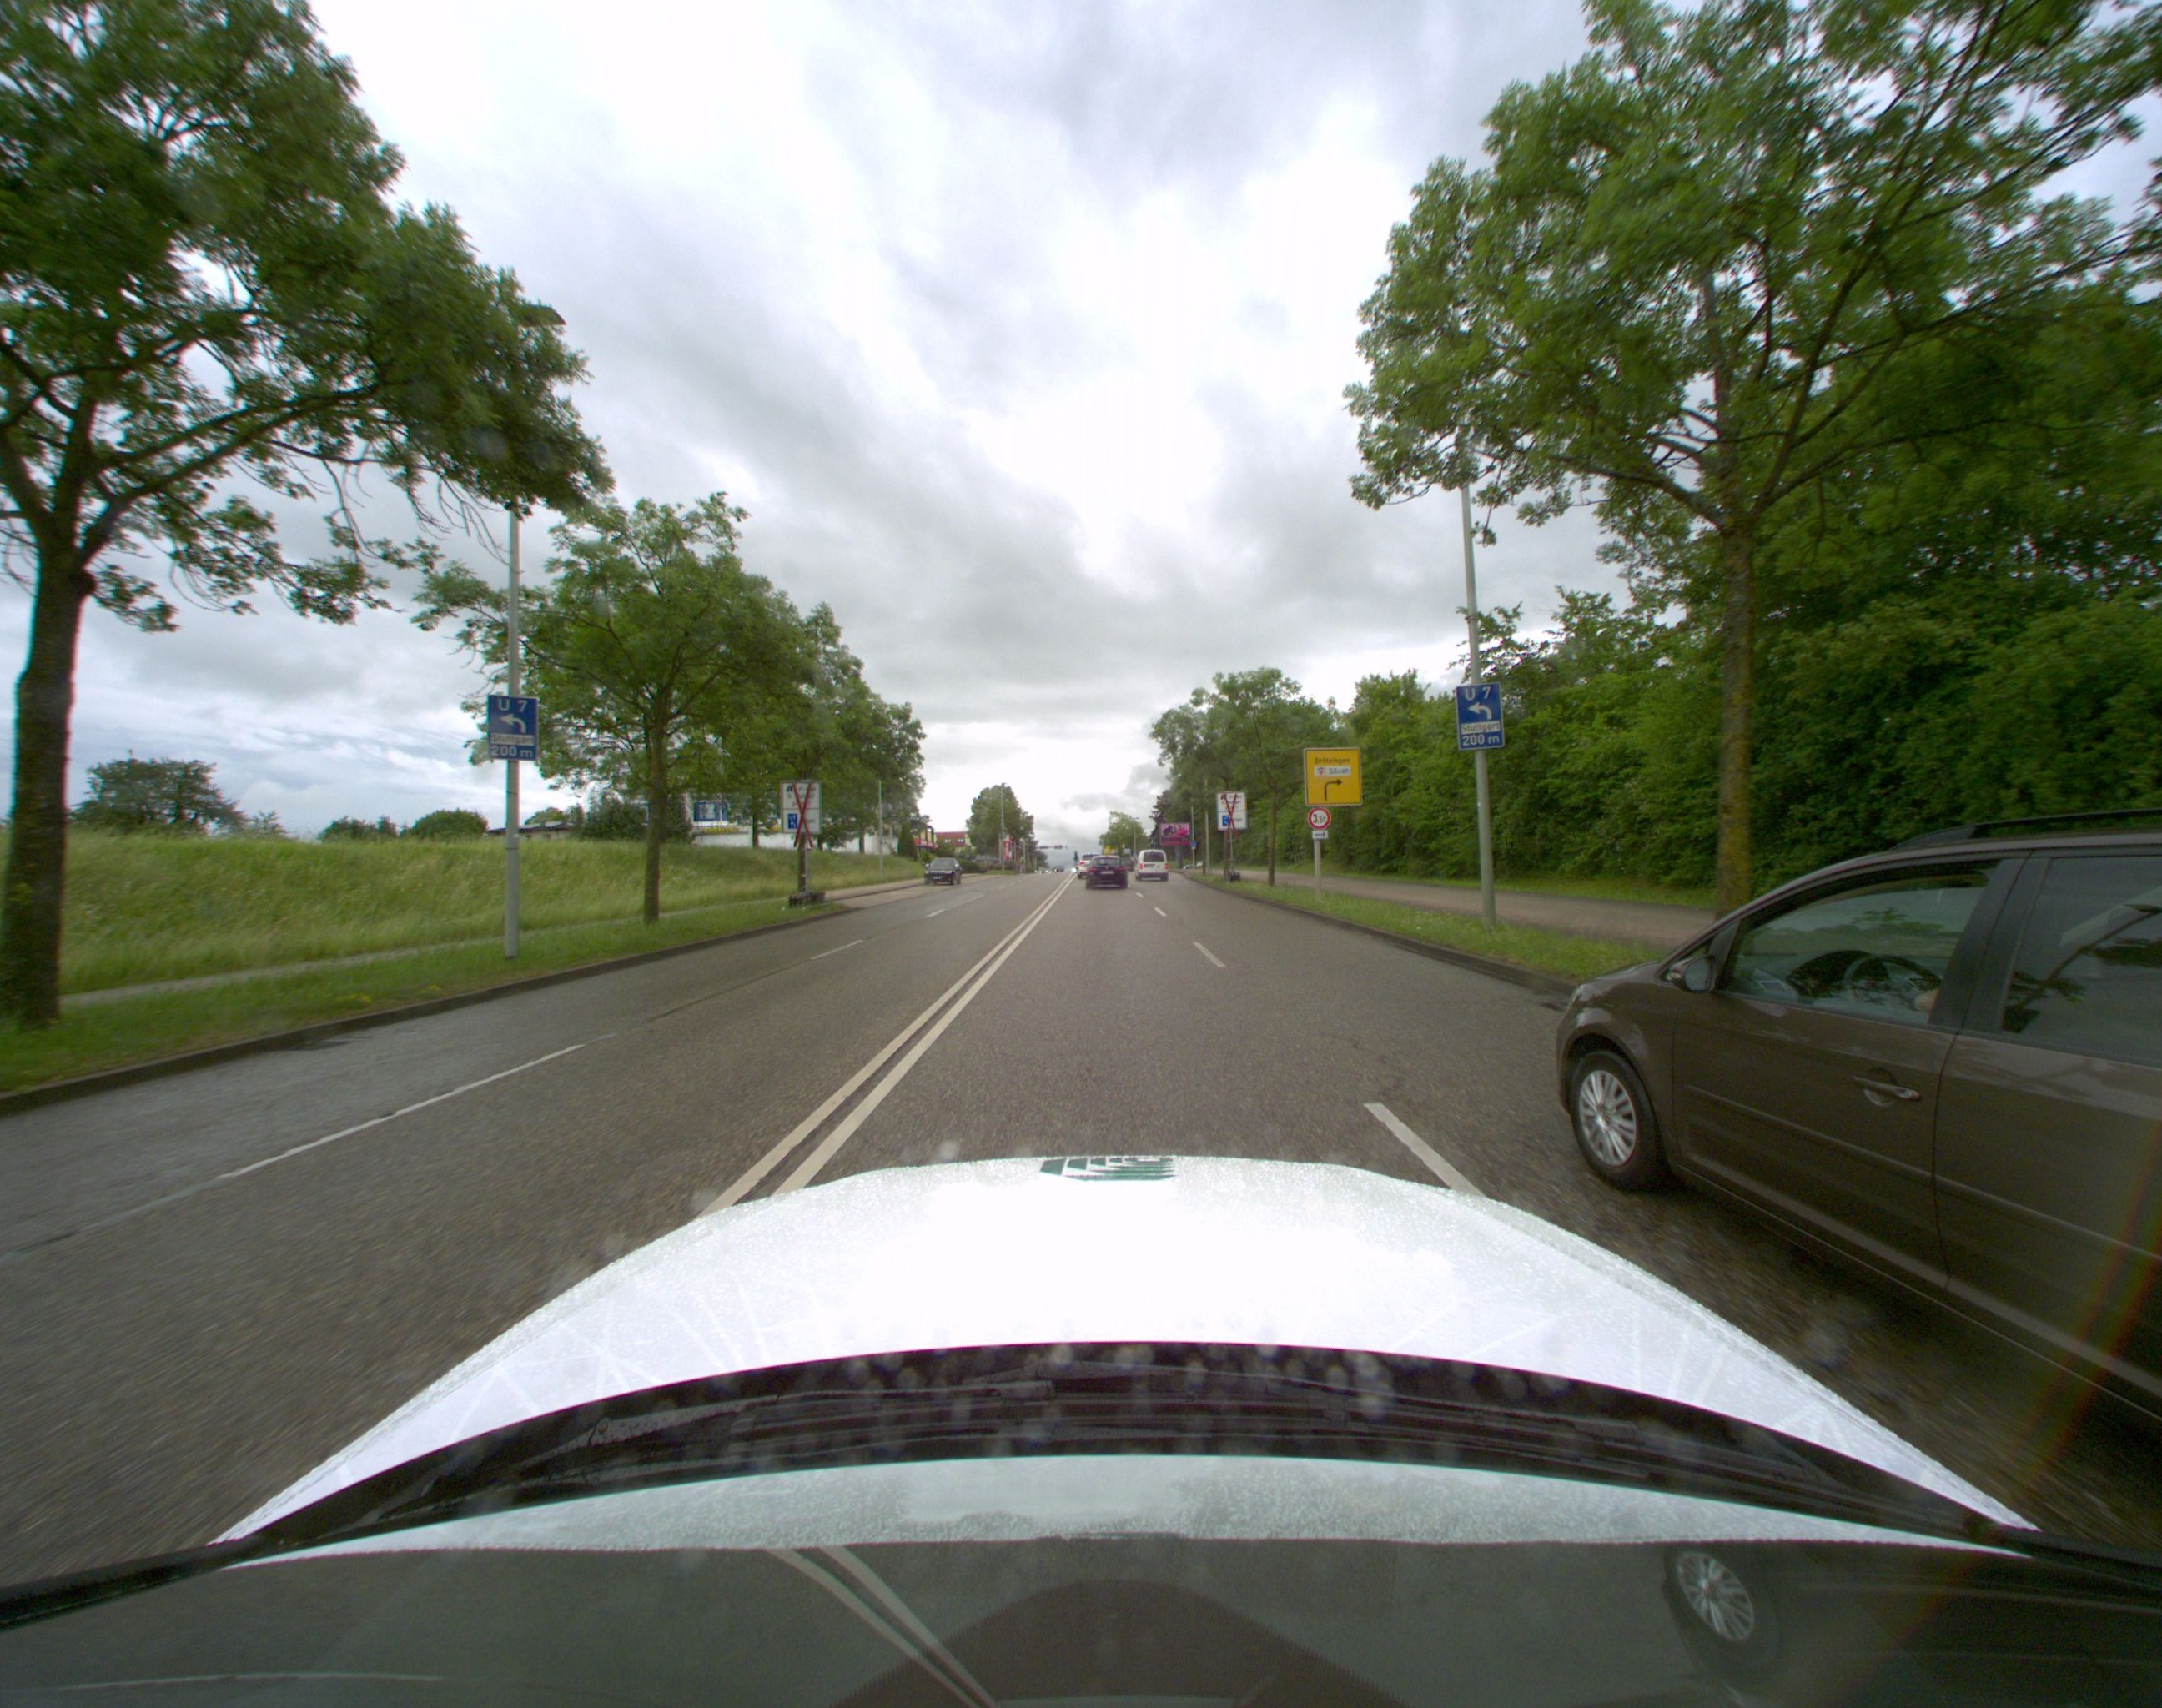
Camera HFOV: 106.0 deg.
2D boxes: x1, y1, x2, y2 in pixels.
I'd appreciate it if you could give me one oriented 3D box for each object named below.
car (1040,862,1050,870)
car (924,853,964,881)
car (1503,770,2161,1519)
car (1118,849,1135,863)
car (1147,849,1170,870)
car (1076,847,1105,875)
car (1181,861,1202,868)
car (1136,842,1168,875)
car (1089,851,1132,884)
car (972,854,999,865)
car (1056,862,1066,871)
[{"bbox_3d":[-7.436,2.460,167.079,1.787,1.401,4.300,-3,-1,1],"label":"car"},{"bbox_3d":[-8.507,0.771,50.915,1.720,1.668,4.488,0,0,1],"label":"car"},{"bbox_3d":[3.171,0.611,2.486,1.707,1.596,4.132,-1,0,2],"label":"car"},{"bbox_3d":[4.869,0.193,87.478,1.594,1.372,3.682,-2,0,2],"label":"car"},{"bbox_3d":[6.810,0.480,71.867,1.807,1.708,3.948,-2,0,2],"label":"car"},{"bbox_3d":[0.665,0.442,53.494,1.721,1.711,3.386,-1,0,4],"label":"car"},{"bbox_3d":[22.574,2.185,166.242,3.998,1.294,1.599,-3,0,-18],"label":"car"},{"bbox_3d":[4.188,0.281,48.397,1.734,1.869,3.948,0,0,2],"label":"car"},{"bbox_3d":[1.359,0.588,36.954,1.847,1.419,3.960,0,0,3],"label":"car"},{"bbox_3d":[-14.320,0.833,122.175,3.823,1.482,1.737,-2,-1,-7],"label":"car"},{"bbox_3d":[-3.730,2.308,154.351,1.790,1.584,4.197,-3,0,-1],"label":"car"}]
